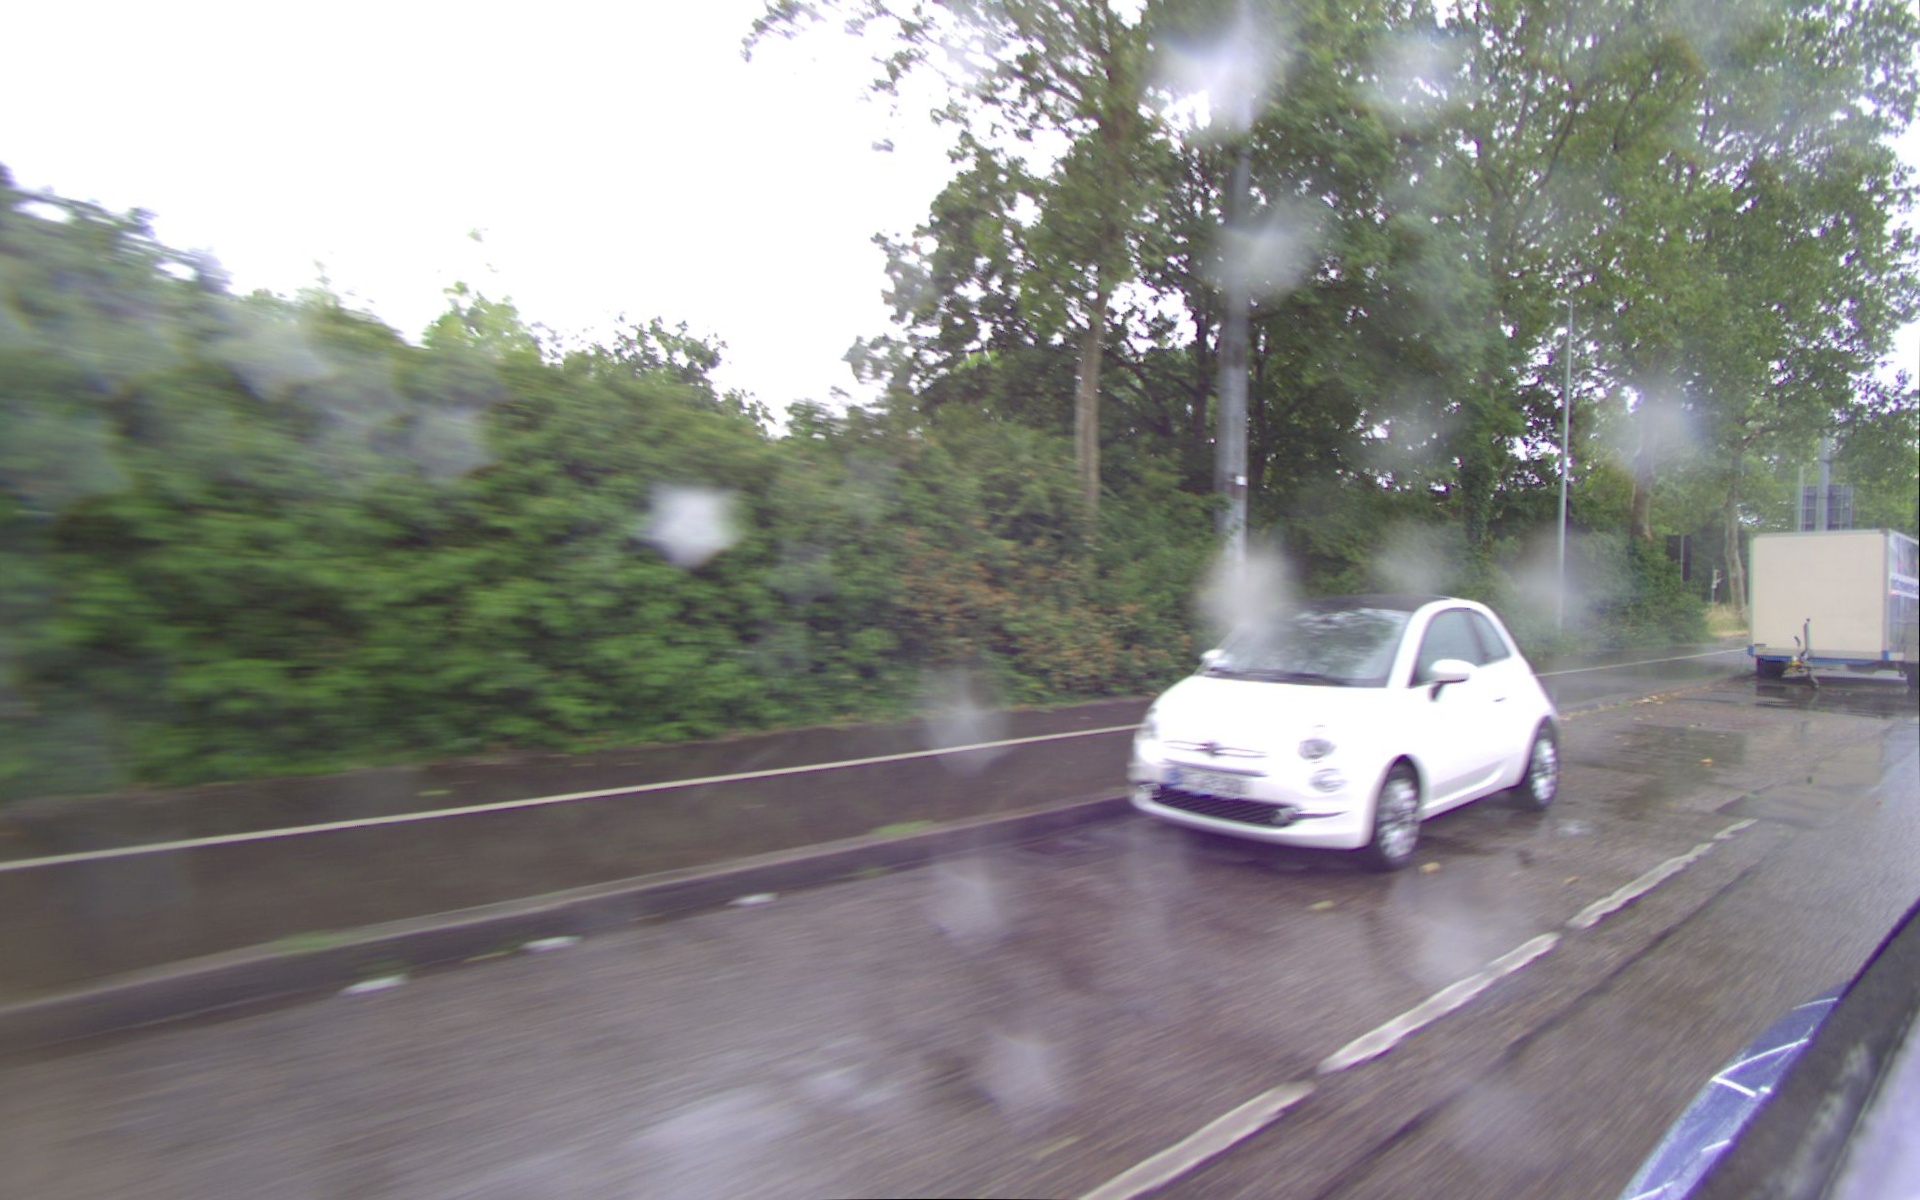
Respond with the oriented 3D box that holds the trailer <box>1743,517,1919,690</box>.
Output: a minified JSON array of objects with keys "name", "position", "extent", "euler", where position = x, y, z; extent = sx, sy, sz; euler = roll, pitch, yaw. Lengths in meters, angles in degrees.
[{"name":"trailer","position":[16.821,-0.009,18.906],"extent":[5.573,2.792,2.171],"euler":[-1,1,-38]}]

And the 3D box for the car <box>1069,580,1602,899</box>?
[{"name":"car","position":[2.721,0.665,6.896],"extent":[3.930,1.548,1.717],"euler":[0,1,-41]}]
